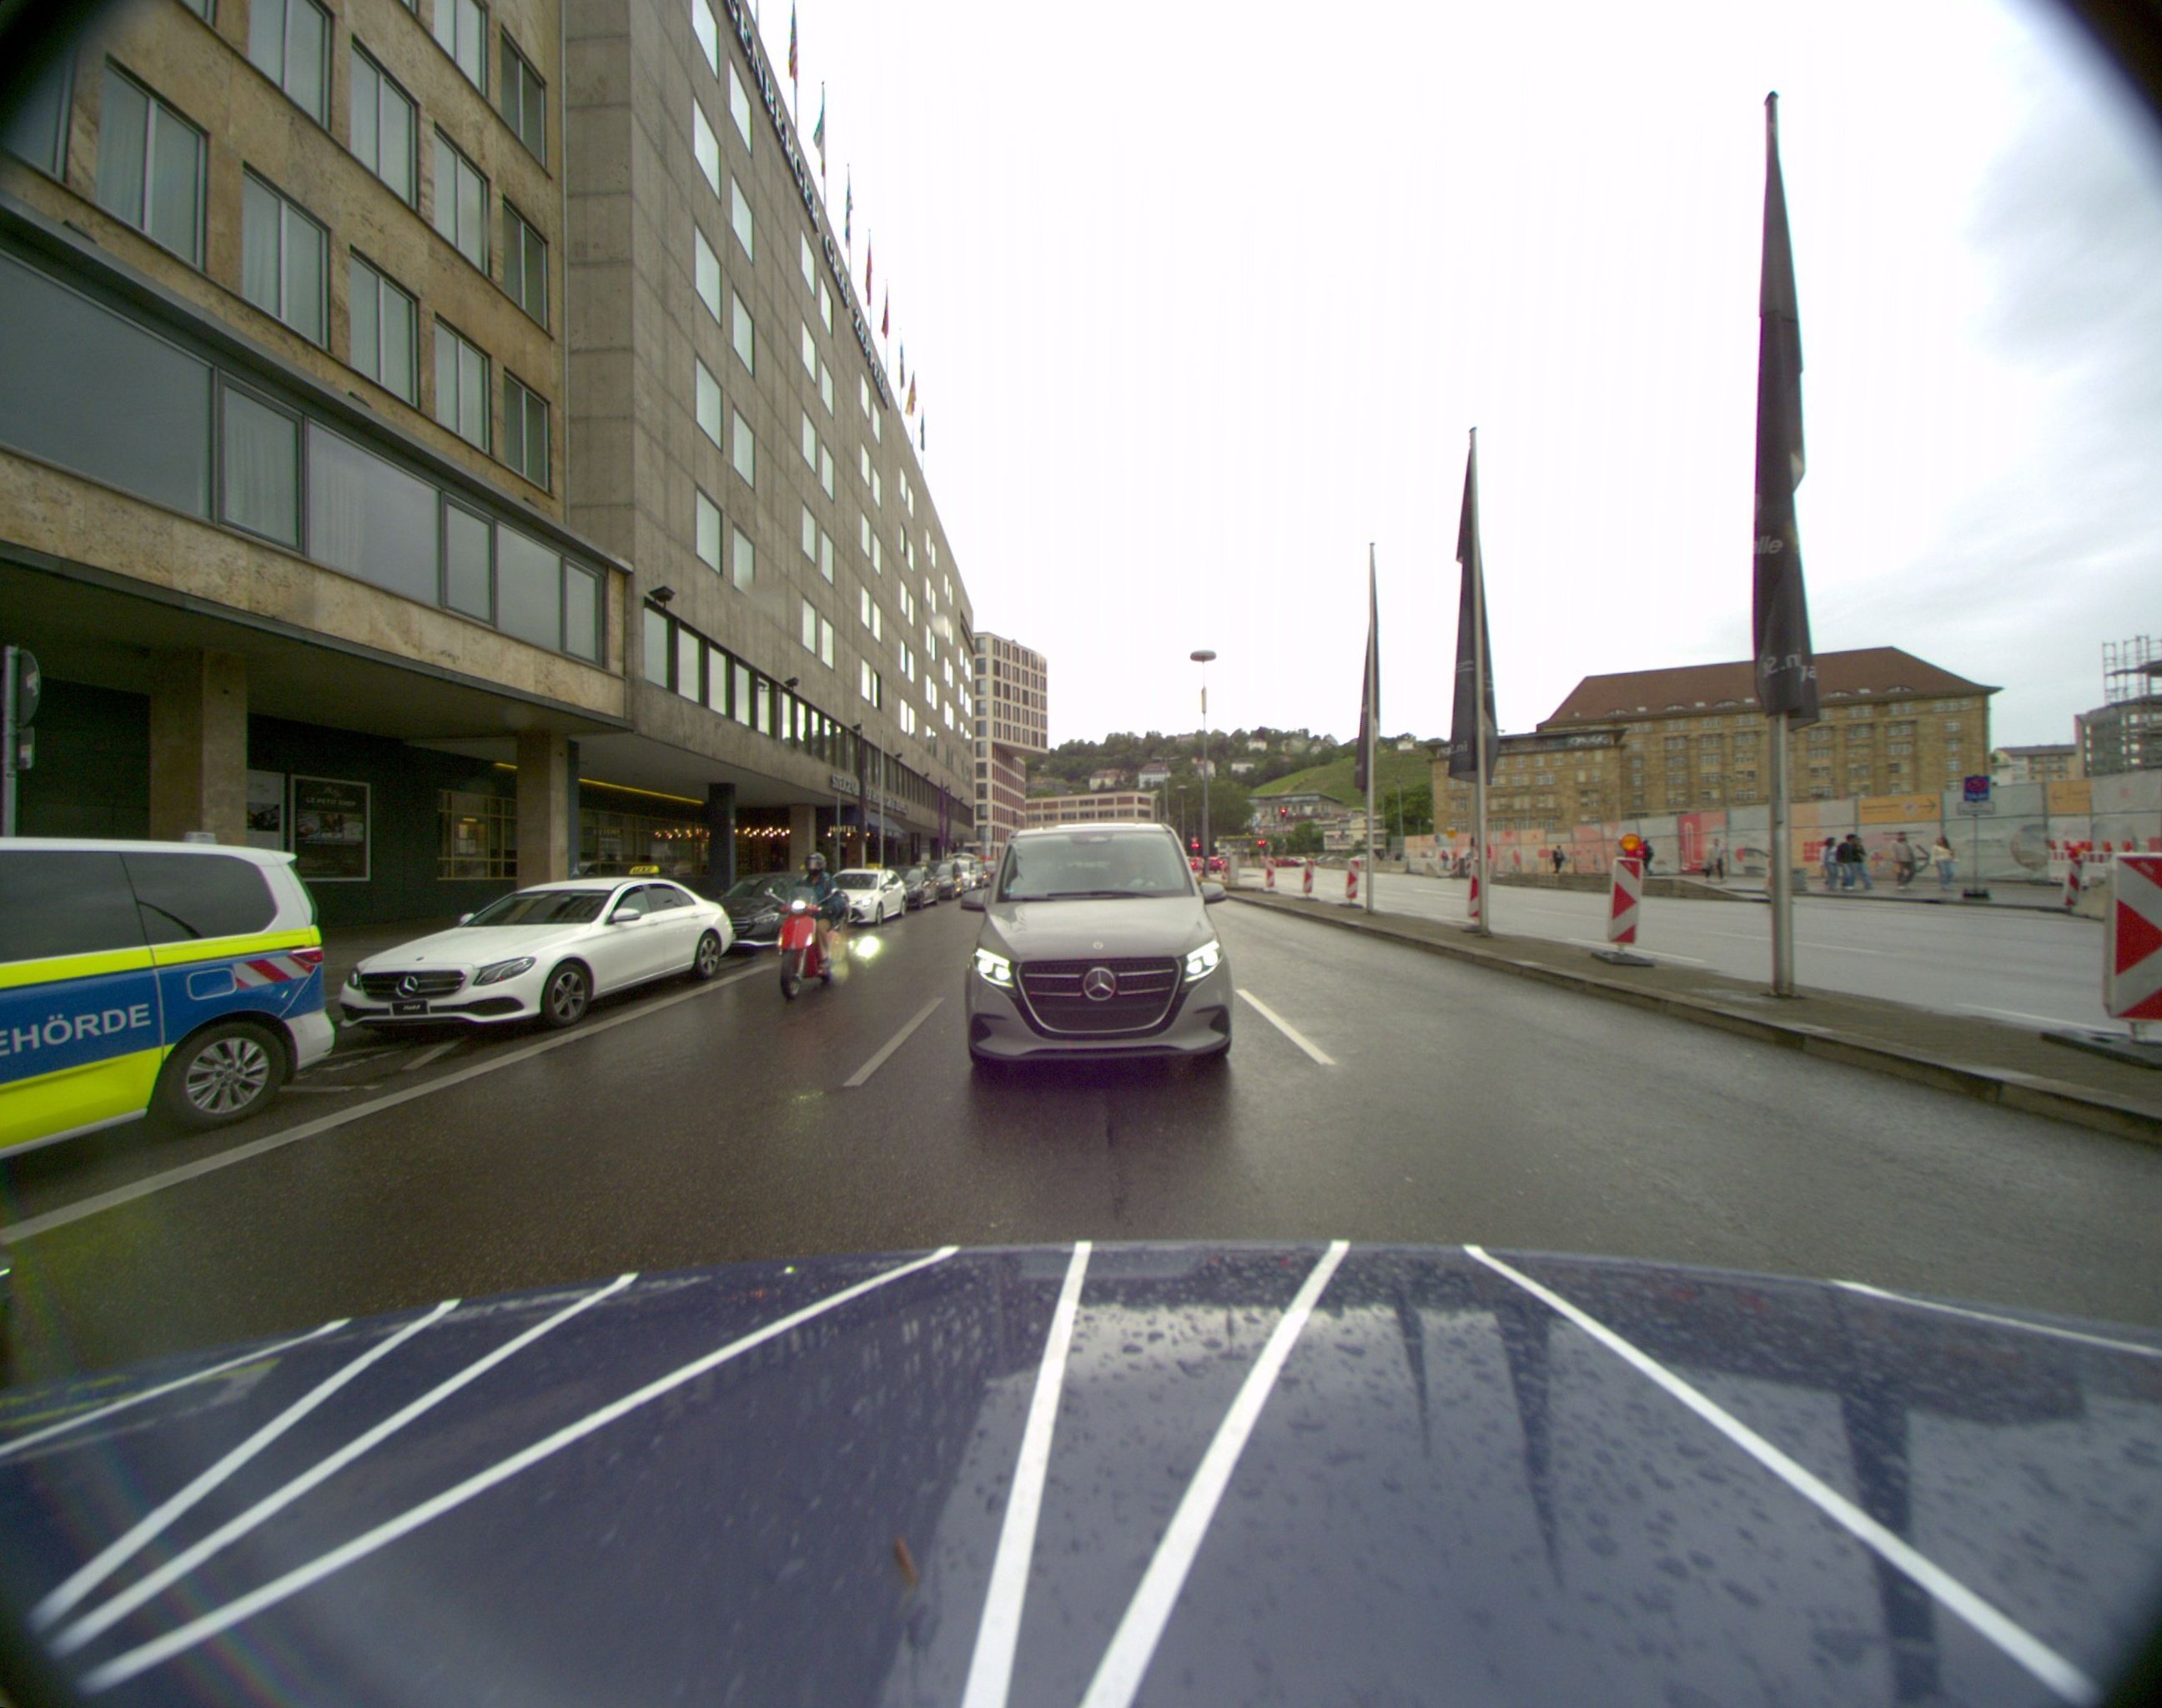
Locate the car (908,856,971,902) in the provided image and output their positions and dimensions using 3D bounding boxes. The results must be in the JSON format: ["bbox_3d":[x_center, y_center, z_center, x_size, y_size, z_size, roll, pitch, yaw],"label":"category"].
[{"bbox_3d":[-6.051,1.001,33.028,1.731,1.732,4.814,-2,1,0],"label":"car"}]

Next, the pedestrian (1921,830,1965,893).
[{"bbox_3d":[25.776,0.222,22.736,0.661,1.825,0.556,-2,1,21],"label":"pedestrian"}]

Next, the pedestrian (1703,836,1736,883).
[{"bbox_3d":[25.401,0.231,30.246,0.664,1.825,0.720,-2,1,1],"label":"pedestrian"}]

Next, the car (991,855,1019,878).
[{"bbox_3d":[-5.902,0.967,59.231,1.731,1.604,4.001,-2,1,0],"label":"car"}]

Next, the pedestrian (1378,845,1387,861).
[{"bbox_3d":[31.086,-0.140,78.383,0.715,1.606,0.544,-2,1,5],"label":"pedestrian"}]

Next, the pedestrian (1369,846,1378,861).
[{"bbox_3d":[30.190,-0.053,78.491,0.715,1.606,0.544,-2,1,5],"label":"pedestrian"}]

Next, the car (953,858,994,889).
[{"bbox_3d":[-6.124,1.069,43.732,1.731,1.604,4.001,-2,1,0],"label":"car"}]

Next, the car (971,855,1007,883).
[{"bbox_3d":[-5.871,0.917,48.911,1.731,1.604,4.001,-2,1,0],"label":"car"}]

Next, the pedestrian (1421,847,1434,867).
[{"bbox_3d":[28.023,0.211,61.476,0.715,1.606,0.544,-2,1,1],"label":"pedestrian"}]

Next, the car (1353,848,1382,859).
[{"bbox_3d":[45.504,-0.023,120.658,3.993,1.622,2.002,-1,0,14],"label":"car"}]

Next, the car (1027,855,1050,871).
[{"bbox_3d":[-4.538,0.957,81.082,2.089,1.540,4.587,-2,1,0],"label":"car"}]

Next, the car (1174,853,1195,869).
[{"bbox_3d":[11.824,0.736,86.865,1.785,1.684,3.916,-2,1,-1],"label":"car"}]

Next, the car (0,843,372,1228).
[{"bbox_3d":[-6.324,0.939,3.228,1.879,1.909,4.935,-2,1,0],"label":"car"}]

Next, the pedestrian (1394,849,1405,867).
[{"bbox_3d":[28.586,0.352,68.122,0.715,1.606,0.544,-2,1,1],"label":"pedestrian"}]

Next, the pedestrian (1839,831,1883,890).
[{"bbox_3d":[24.763,0.208,24.140,0.714,1.825,0.718,-2,1,19],"label":"pedestrian"}]

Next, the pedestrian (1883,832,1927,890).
[{"bbox_3d":[25.174,0.223,23.216,0.714,1.734,0.564,-2,1,21],"label":"pedestrian"}]

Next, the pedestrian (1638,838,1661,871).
[{"bbox_3d":[28.244,0.012,37.765,0.715,1.606,0.544,-2,1,1],"label":"pedestrian"}]

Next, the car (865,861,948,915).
[{"bbox_3d":[-6.044,1.125,26.857,1.731,1.583,4.814,-2,1,0],"label":"car"}]

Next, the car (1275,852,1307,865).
[{"bbox_3d":[28.137,0.624,101.951,3.993,1.622,2.002,-1,0,14],"label":"car"}]

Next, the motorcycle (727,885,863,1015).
[{"bbox_3d":[-3.439,1.102,9.364,0.848,1.299,1.965,-2,1,1],"label":"motorcycle"}]

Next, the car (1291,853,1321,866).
[{"bbox_3d":[34.772,0.819,117.584,4.194,1.846,1.832,-2,1,6],"label":"car"}]

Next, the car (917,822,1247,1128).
[{"bbox_3d":[0.047,0.742,7.337,1.998,1.849,5.160,-2,1,1],"label":"car"}]

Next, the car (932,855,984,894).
[{"bbox_3d":[-6.089,0.961,38.225,1.731,1.732,4.814,-2,1,0],"label":"car"}]

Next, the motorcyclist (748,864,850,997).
[{"bbox_3d":[-3.434,0.904,9.324,0.861,1.519,0.844,-2,1,1],"label":"motorcyclist"}]

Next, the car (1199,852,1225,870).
[{"bbox_3d":[12.467,0.642,72.259,1.785,1.684,3.916,-1,0,0],"label":"car"}]

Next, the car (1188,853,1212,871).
[{"bbox_3d":[12.326,0.780,78.814,1.785,1.684,3.916,-2,1,-1],"label":"car"}]

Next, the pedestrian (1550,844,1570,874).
[{"bbox_3d":[26.081,0.272,41.405,0.715,1.606,0.544,-2,1,1],"label":"pedestrian"}]

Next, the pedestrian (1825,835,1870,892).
[{"bbox_3d":[23.713,0.279,23.511,0.714,1.723,0.718,-2,1,19],"label":"pedestrian"}]

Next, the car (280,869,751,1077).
[{"bbox_3d":[-6.093,1.104,9.230,1.879,1.628,5.010,-2,1,0],"label":"car"}]

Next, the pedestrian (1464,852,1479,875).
[{"bbox_3d":[28.284,0.705,55.036,0.715,1.606,0.544,-2,1,1],"label":"pedestrian"}]

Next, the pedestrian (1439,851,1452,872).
[{"bbox_3d":[28.065,0.556,58.452,0.715,1.606,0.544,-2,1,1],"label":"pedestrian"}]

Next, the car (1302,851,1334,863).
[{"bbox_3d":[32.649,0.434,104.681,3.993,1.622,2.002,-1,0,14],"label":"car"}]

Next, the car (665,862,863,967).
[{"bbox_3d":[-6.075,1.055,15.314,1.879,1.628,4.814,-2,1,0],"label":"car"}]

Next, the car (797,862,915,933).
[{"bbox_3d":[-6.042,1.095,21.042,1.731,1.583,4.814,-2,1,0],"label":"car"}]

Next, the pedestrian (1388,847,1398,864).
[{"bbox_3d":[30.041,0.178,73.163,0.715,1.606,0.544,-2,1,1],"label":"pedestrian"}]
